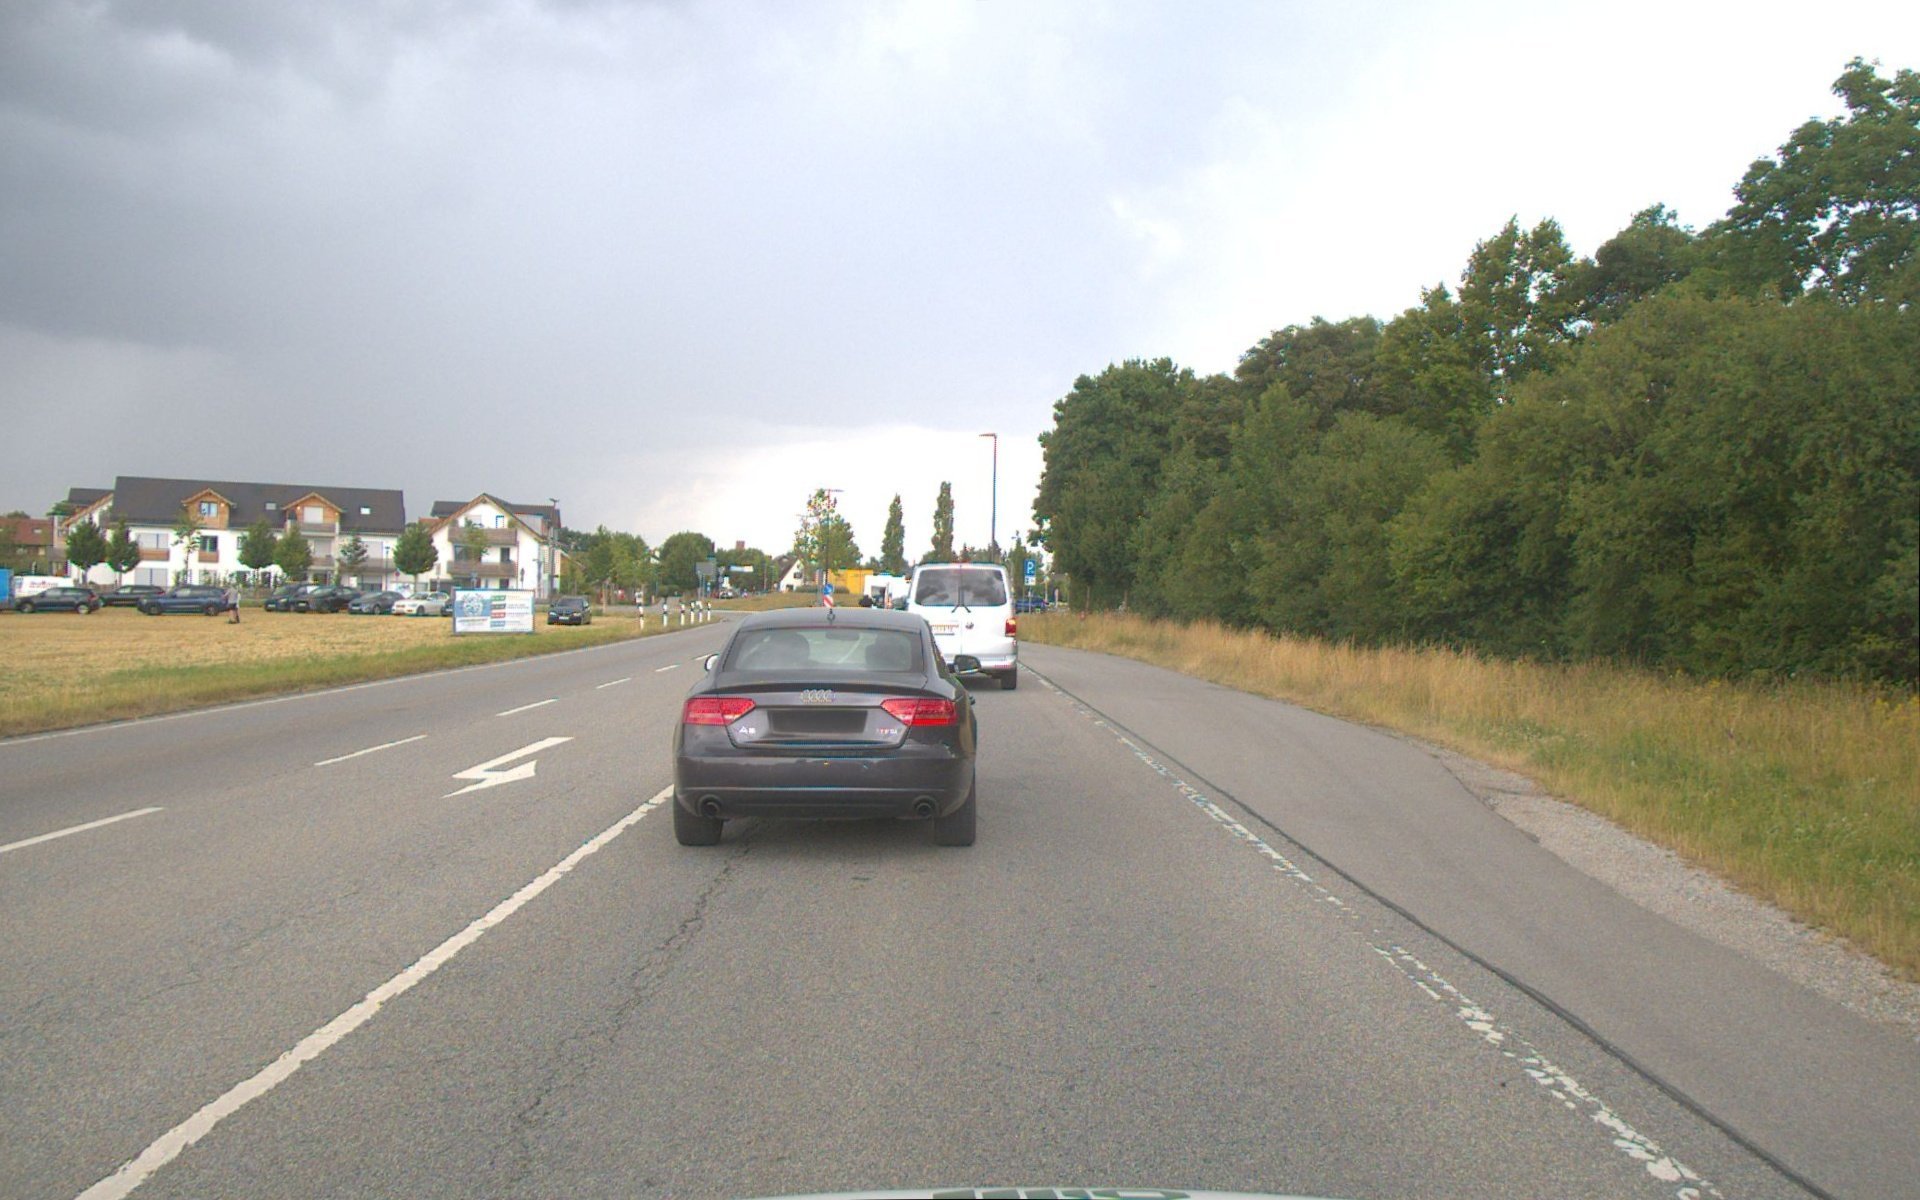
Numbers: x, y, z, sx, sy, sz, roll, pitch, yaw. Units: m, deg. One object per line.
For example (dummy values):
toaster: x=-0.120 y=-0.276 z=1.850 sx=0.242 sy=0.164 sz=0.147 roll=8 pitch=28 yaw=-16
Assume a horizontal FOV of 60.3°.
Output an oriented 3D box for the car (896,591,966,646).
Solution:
car: x=-0.854 y=0.520 z=48.621 sx=1.953 sy=1.511 sz=3.999 roll=1 pitch=0 yaw=-2

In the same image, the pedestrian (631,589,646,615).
pedestrian: x=-19.968 y=0.129 z=102.736 sx=0.686 sy=1.613 sz=0.658 roll=1 pitch=0 yaw=16

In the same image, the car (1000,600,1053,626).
car: x=5.474 y=1.064 z=136.408 sx=3.904 sy=2.049 sz=2.000 roll=1 pitch=0 yaw=19

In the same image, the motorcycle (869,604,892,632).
motorcycle: x=-3.277 y=0.719 z=68.217 sx=0.901 sy=1.113 sz=2.188 roll=1 pitch=0 yaw=-1

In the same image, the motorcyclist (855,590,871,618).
motorcyclist: x=-4.780 y=0.184 z=81.818 sx=0.770 sy=1.380 sz=0.853 roll=1 pitch=0 yaw=-3

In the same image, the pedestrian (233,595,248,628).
pedestrian: x=-34.412 y=0.546 z=79.142 sx=0.580 sy=1.583 sz=0.622 roll=1 pitch=0 yaw=-20

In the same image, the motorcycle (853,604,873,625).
motorcycle: x=-4.793 y=0.709 z=81.881 sx=0.925 sy=1.037 sz=2.282 roll=1 pitch=0 yaw=-3

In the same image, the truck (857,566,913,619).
truck: x=-4.264 y=-0.422 z=93.189 sx=2.577 sy=2.785 sz=5.857 roll=2 pitch=0 yaw=-7

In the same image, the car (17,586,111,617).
car: x=-47.708 y=0.085 z=88.157 sx=4.096 sy=1.545 sz=1.987 roll=1 pitch=0 yaw=-22

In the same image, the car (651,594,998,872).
car: x=-0.766 y=0.708 z=10.912 sx=1.837 sy=1.479 sz=4.176 roll=0 pitch=0 yaw=-1

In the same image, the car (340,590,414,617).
car: x=-34.513 y=0.191 z=98.014 sx=1.951 sy=1.562 sz=4.214 roll=1 pitch=0 yaw=17

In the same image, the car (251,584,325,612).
car: x=-40.839 y=-0.115 z=100.573 sx=1.951 sy=1.657 sz=4.214 roll=1 pitch=0 yaw=17

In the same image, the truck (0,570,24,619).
truck: x=-50.471 y=-0.312 z=83.462 sx=5.376 sy=2.489 sz=2.376 roll=1 pitch=0 yaw=-24

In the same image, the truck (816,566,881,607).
truck: x=-10.503 y=-1.333 z=154.796 sx=3.522 sy=3.641 sz=9.903 roll=2 pitch=0 yaw=-19

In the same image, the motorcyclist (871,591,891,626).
motorcyclist: x=-3.250 y=0.338 z=68.227 sx=0.756 sy=1.407 sz=0.820 roll=1 pitch=0 yaw=-2

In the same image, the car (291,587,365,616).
car: x=-37.596 y=0.064 z=98.476 sx=1.951 sy=1.657 sz=4.214 roll=1 pitch=0 yaw=17

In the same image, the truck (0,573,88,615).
truck: x=-51.196 y=-0.318 z=90.927 sx=5.491 sy=2.235 sz=2.588 roll=1 pitch=0 yaw=-24

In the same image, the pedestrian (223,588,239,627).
pedestrian: x=-34.465 y=0.359 z=78.170 sx=0.539 sy=1.817 sz=0.676 roll=1 pitch=0 yaw=-13

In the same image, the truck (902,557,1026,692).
truck: x=0.044 y=0.361 z=27.624 sx=1.865 sy=2.033 sz=4.628 roll=1 pitch=0 yaw=-1

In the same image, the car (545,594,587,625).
car: x=-20.193 y=0.450 z=84.909 sx=1.958 sy=1.467 sz=3.989 roll=1 pitch=1 yaw=-12

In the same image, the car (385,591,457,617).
car: x=-31.802 y=0.210 z=97.639 sx=1.951 sy=1.471 sz=4.214 roll=1 pitch=0 yaw=17

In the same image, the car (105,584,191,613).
car: x=-50.082 y=-0.095 z=102.114 sx=4.559 sy=1.727 sz=1.987 roll=1 pitch=0 yaw=-21

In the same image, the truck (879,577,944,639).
truck: x=-1.658 y=0.263 z=58.149 sx=2.149 sy=2.049 sz=5.084 roll=1 pitch=0 yaw=-1

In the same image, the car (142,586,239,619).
car: x=-42.096 y=0.122 z=90.572 sx=4.648 sy=1.727 sz=1.987 roll=1 pitch=0 yaw=-21

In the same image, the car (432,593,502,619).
car: x=-28.958 y=0.340 z=97.291 sx=1.951 sy=1.471 sz=4.214 roll=1 pitch=0 yaw=17
